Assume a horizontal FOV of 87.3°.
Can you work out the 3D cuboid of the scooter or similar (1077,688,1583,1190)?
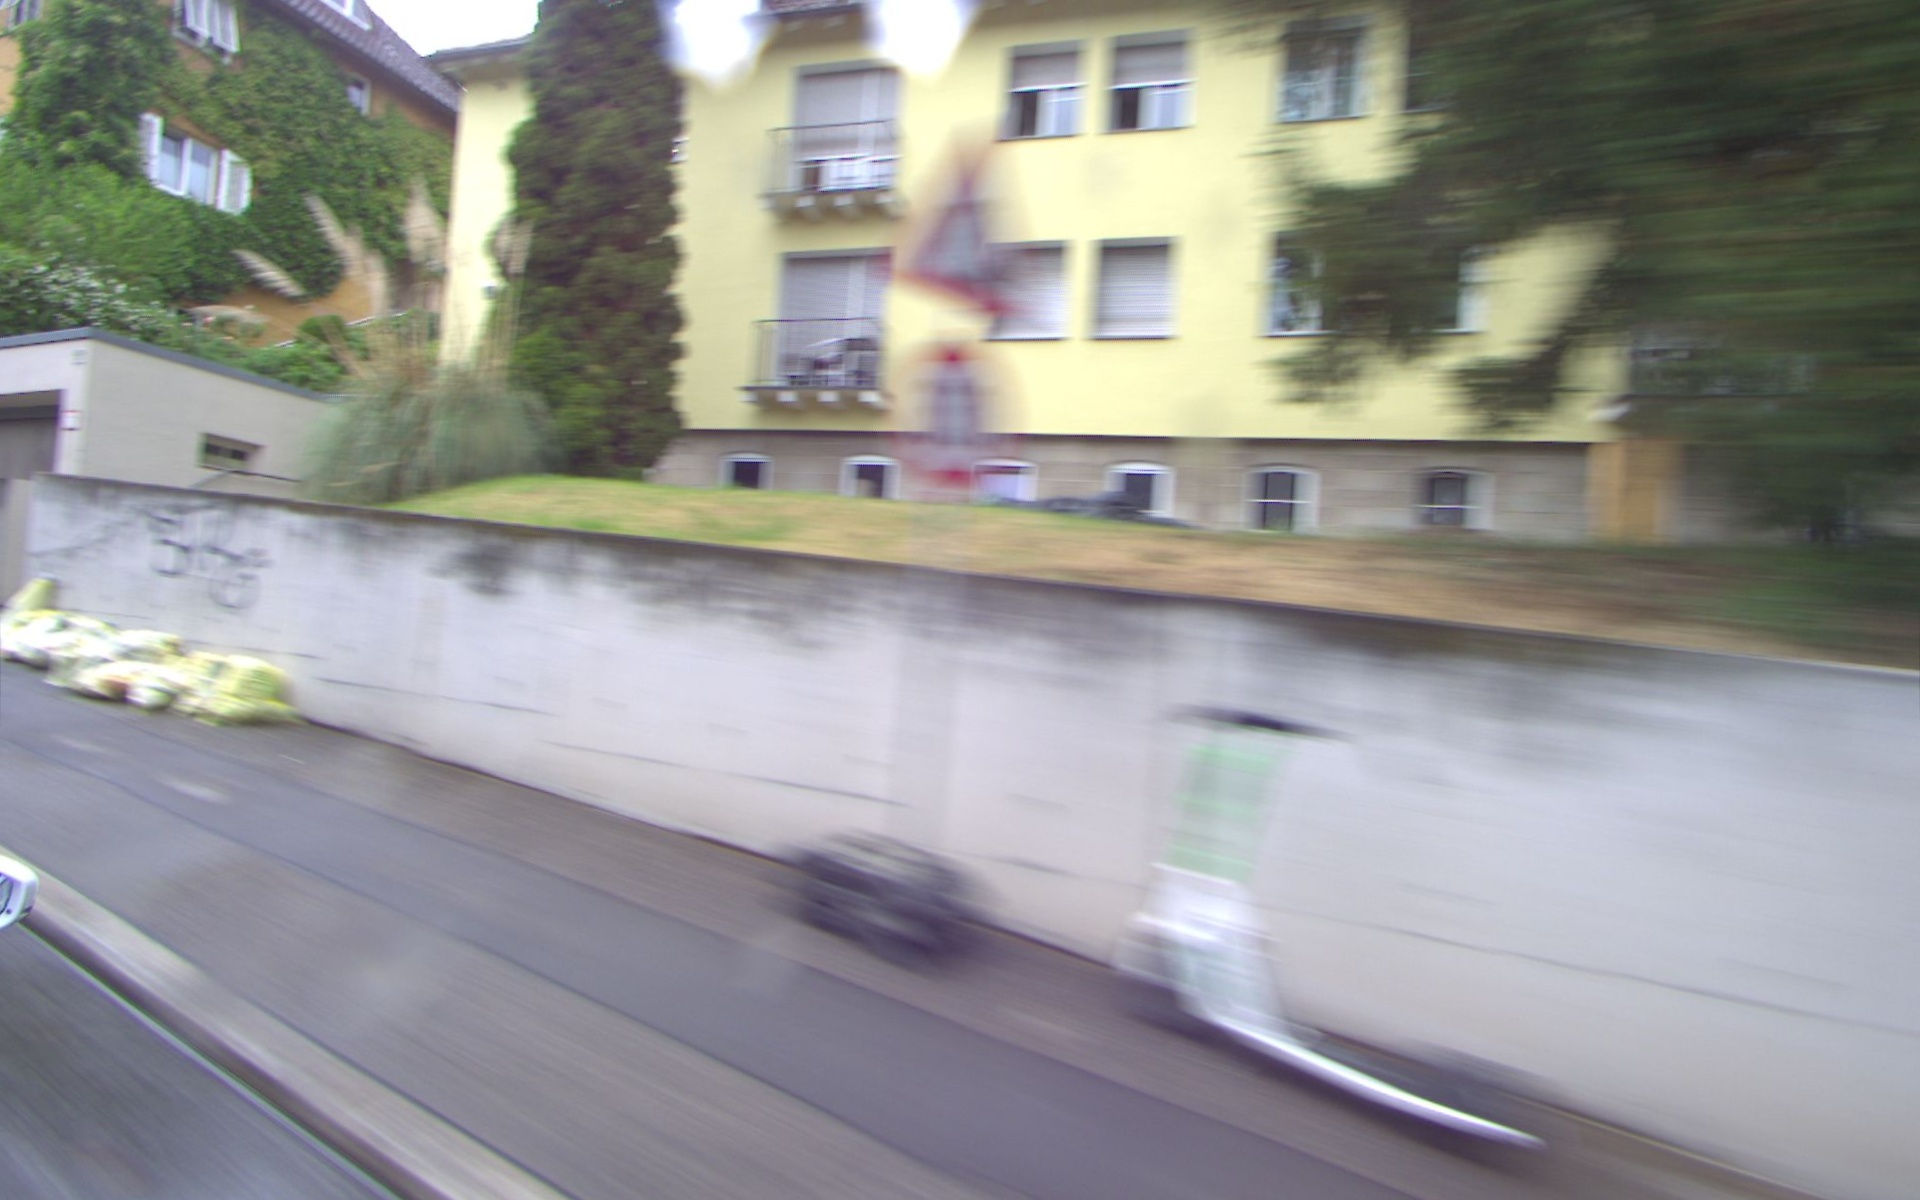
[{"bbox_3d":[1.181,0.964,3.301,1.348,1.147,0.598,7,2,32],"label":"scooter or similar"}]
